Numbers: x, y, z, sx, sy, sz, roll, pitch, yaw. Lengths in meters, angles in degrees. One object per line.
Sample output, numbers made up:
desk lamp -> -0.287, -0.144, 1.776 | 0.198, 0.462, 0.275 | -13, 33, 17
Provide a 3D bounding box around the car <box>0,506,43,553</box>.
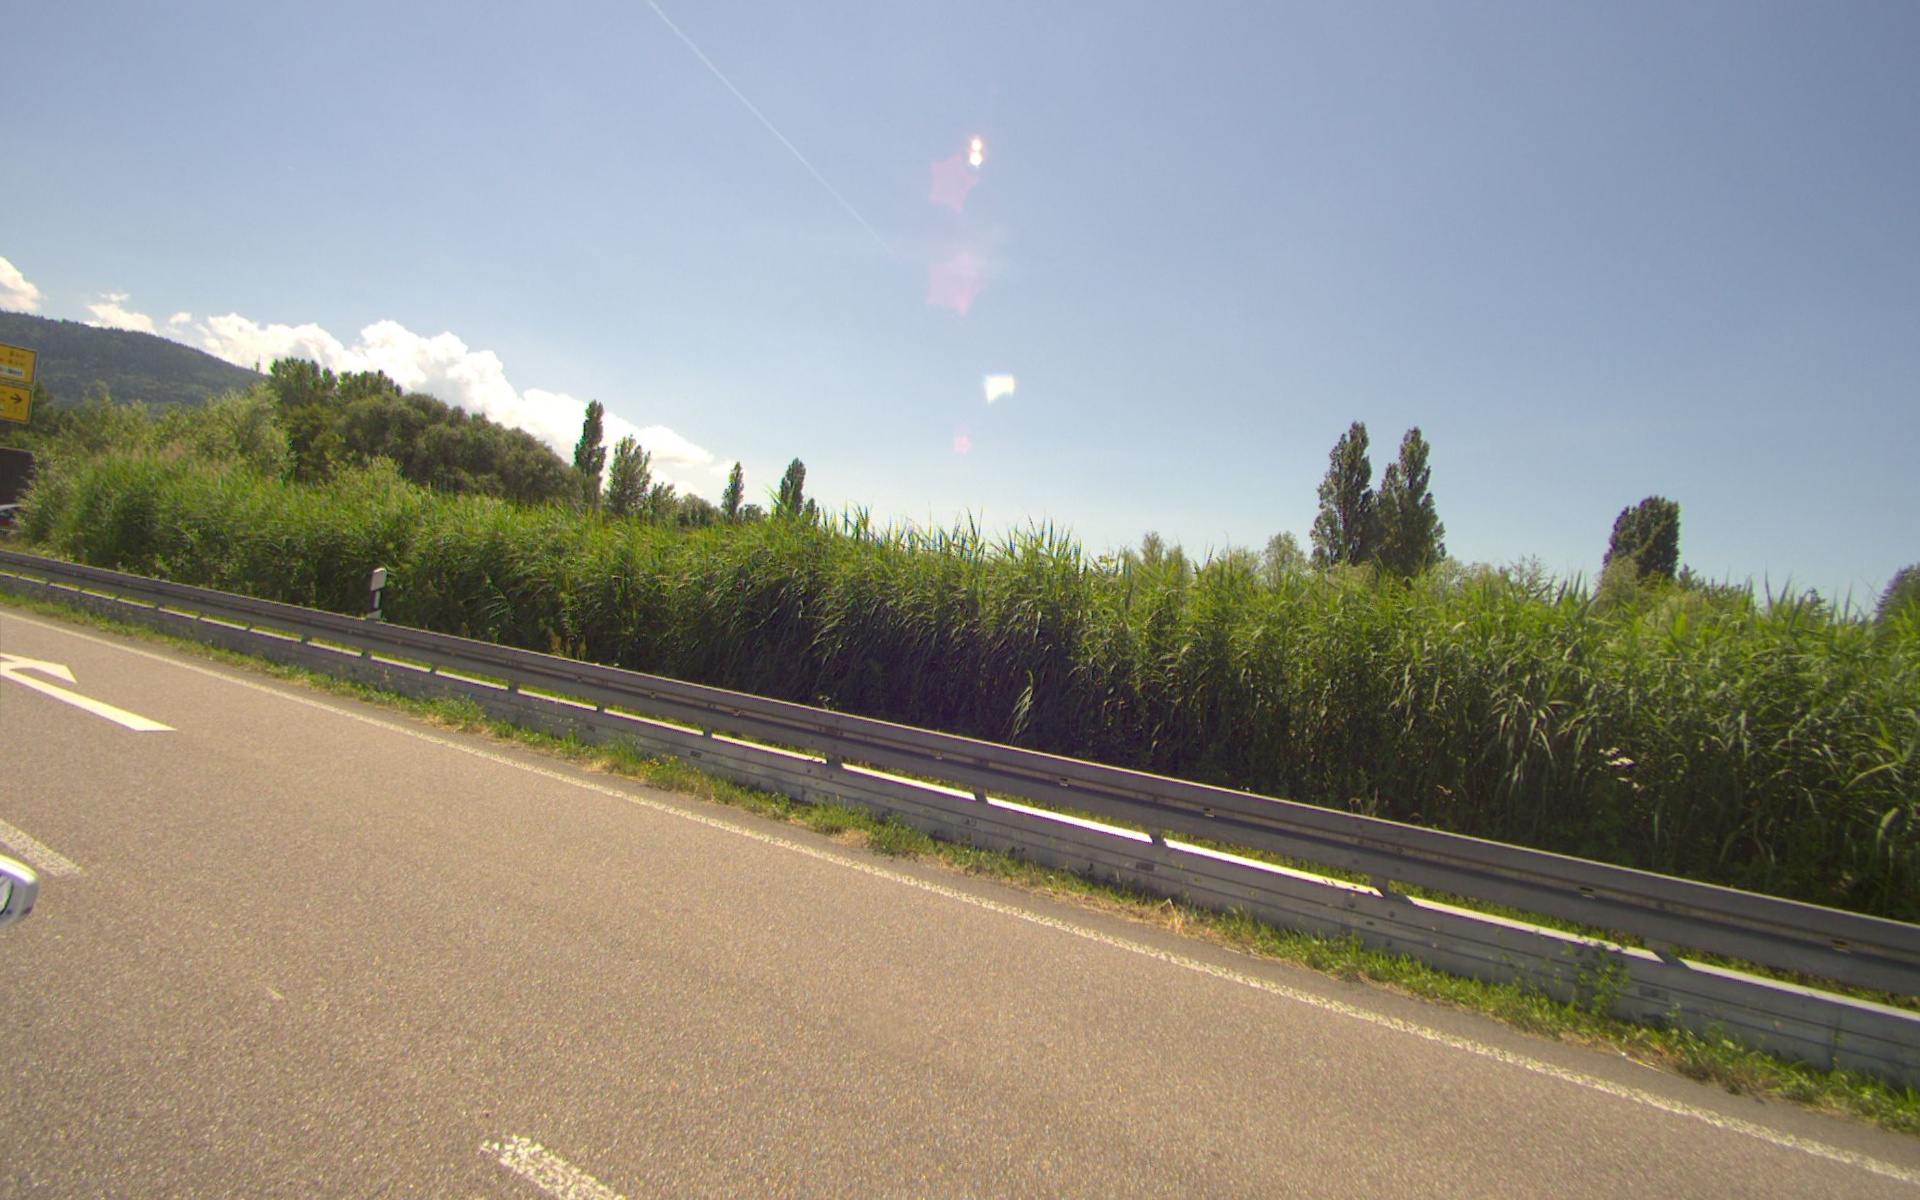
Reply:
car -> -38.207, -2.960, 38.313 | 1.966, 1.675, 4.320 | 6, -2, 29
